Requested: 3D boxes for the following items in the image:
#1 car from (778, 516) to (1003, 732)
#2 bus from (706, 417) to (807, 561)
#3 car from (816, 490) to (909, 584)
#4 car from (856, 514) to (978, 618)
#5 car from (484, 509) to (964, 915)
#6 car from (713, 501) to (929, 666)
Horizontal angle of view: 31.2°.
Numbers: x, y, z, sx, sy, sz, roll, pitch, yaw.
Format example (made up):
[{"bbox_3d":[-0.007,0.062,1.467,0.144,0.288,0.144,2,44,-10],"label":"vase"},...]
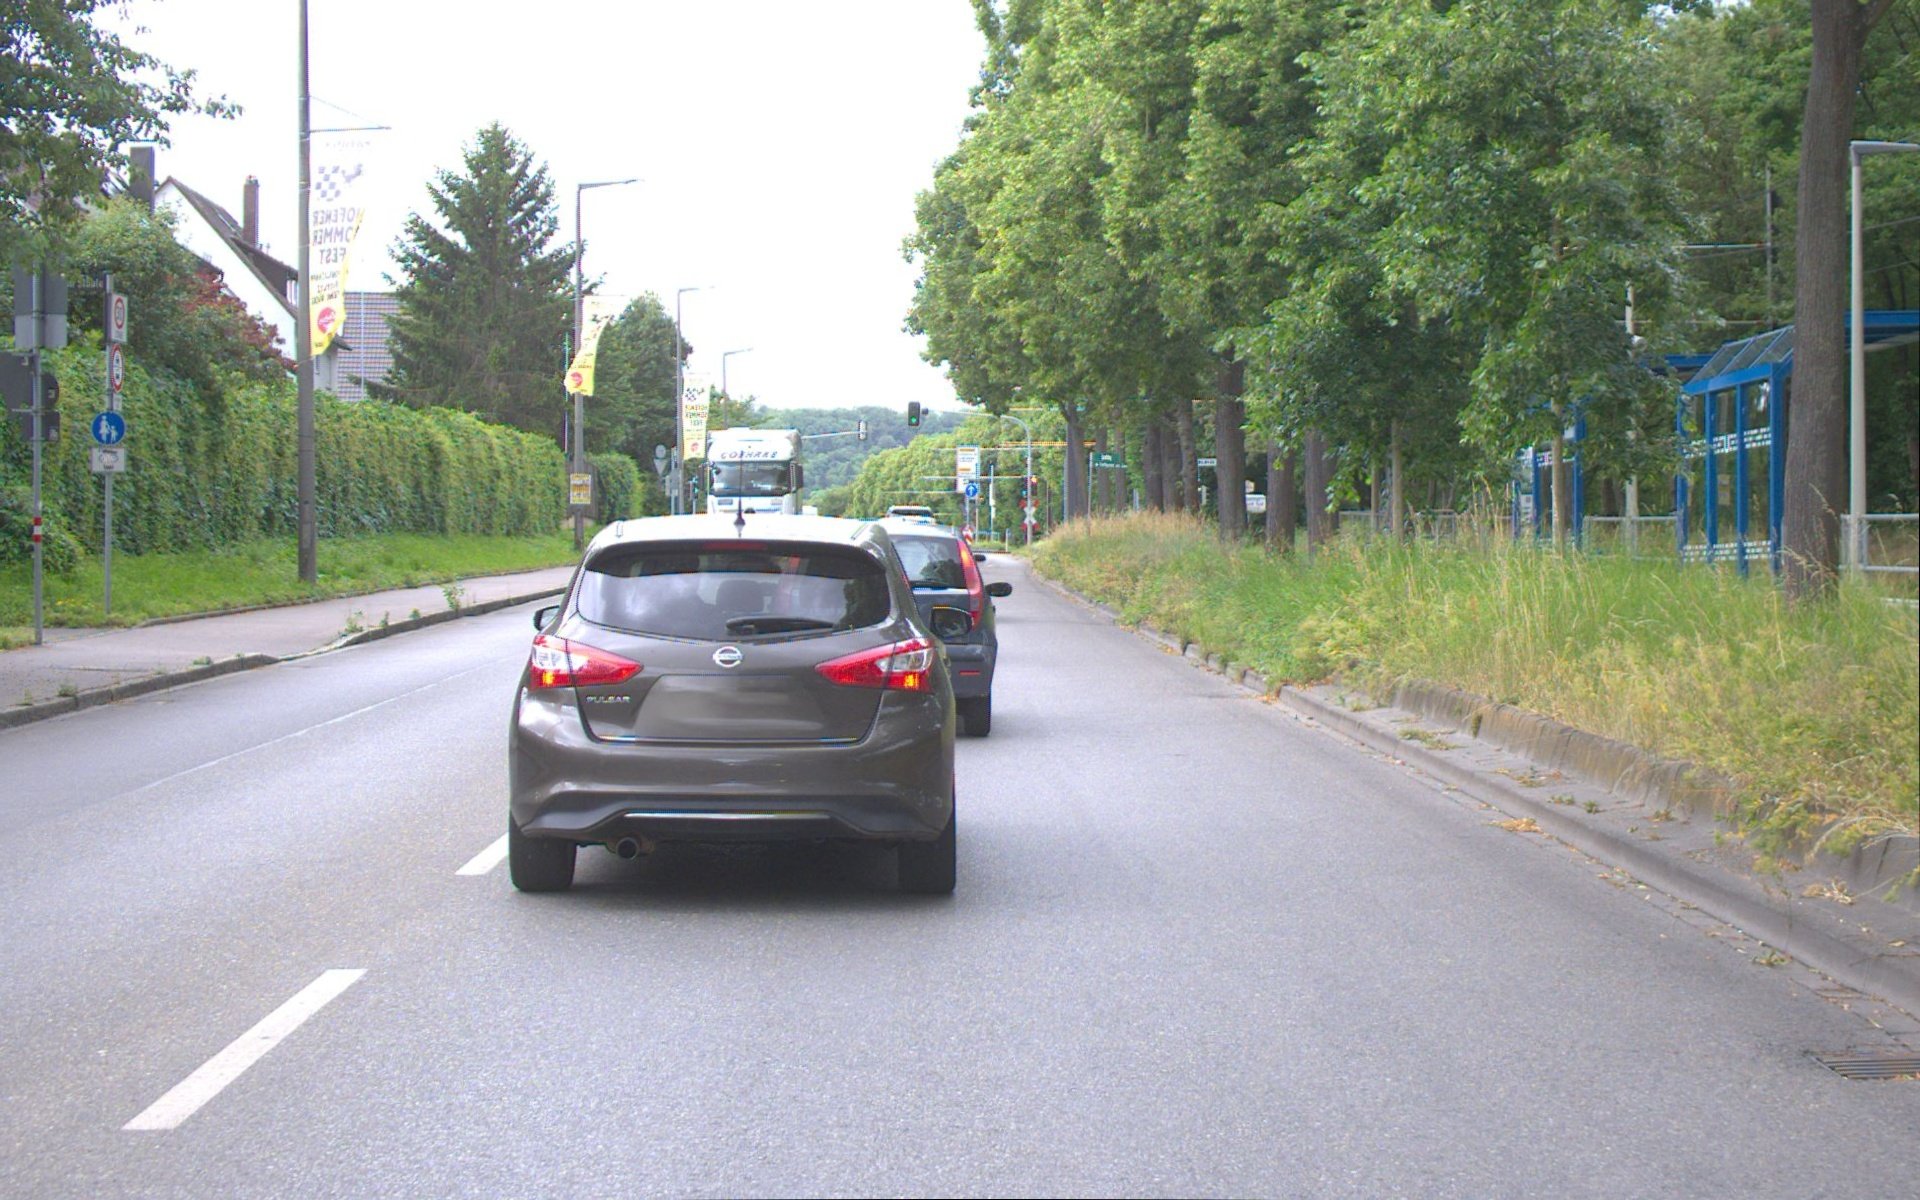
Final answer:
[{"bbox_3d":[-0.505,0.128,24.992,1.502,1.436,3.542,1,1,-1],"label":"car"},{"bbox_3d":[-5.924,-3.233,101.297,2.487,4.012,10.218,1,1,-1],"label":"bus"},{"bbox_3d":[-2.219,-1.428,78.978,1.993,2.007,4.000,2,0,-1],"label":"car"},{"bbox_3d":[-0.642,-0.511,50.112,1.691,1.436,3.542,1,1,-1],"label":"car"},{"bbox_3d":[-0.903,0.392,14.737,1.783,1.501,3.696,1,1,-1],"label":"car"},{"bbox_3d":[-1.341,-0.169,34.702,1.993,1.481,4.000,2,0,-1],"label":"car"}]
